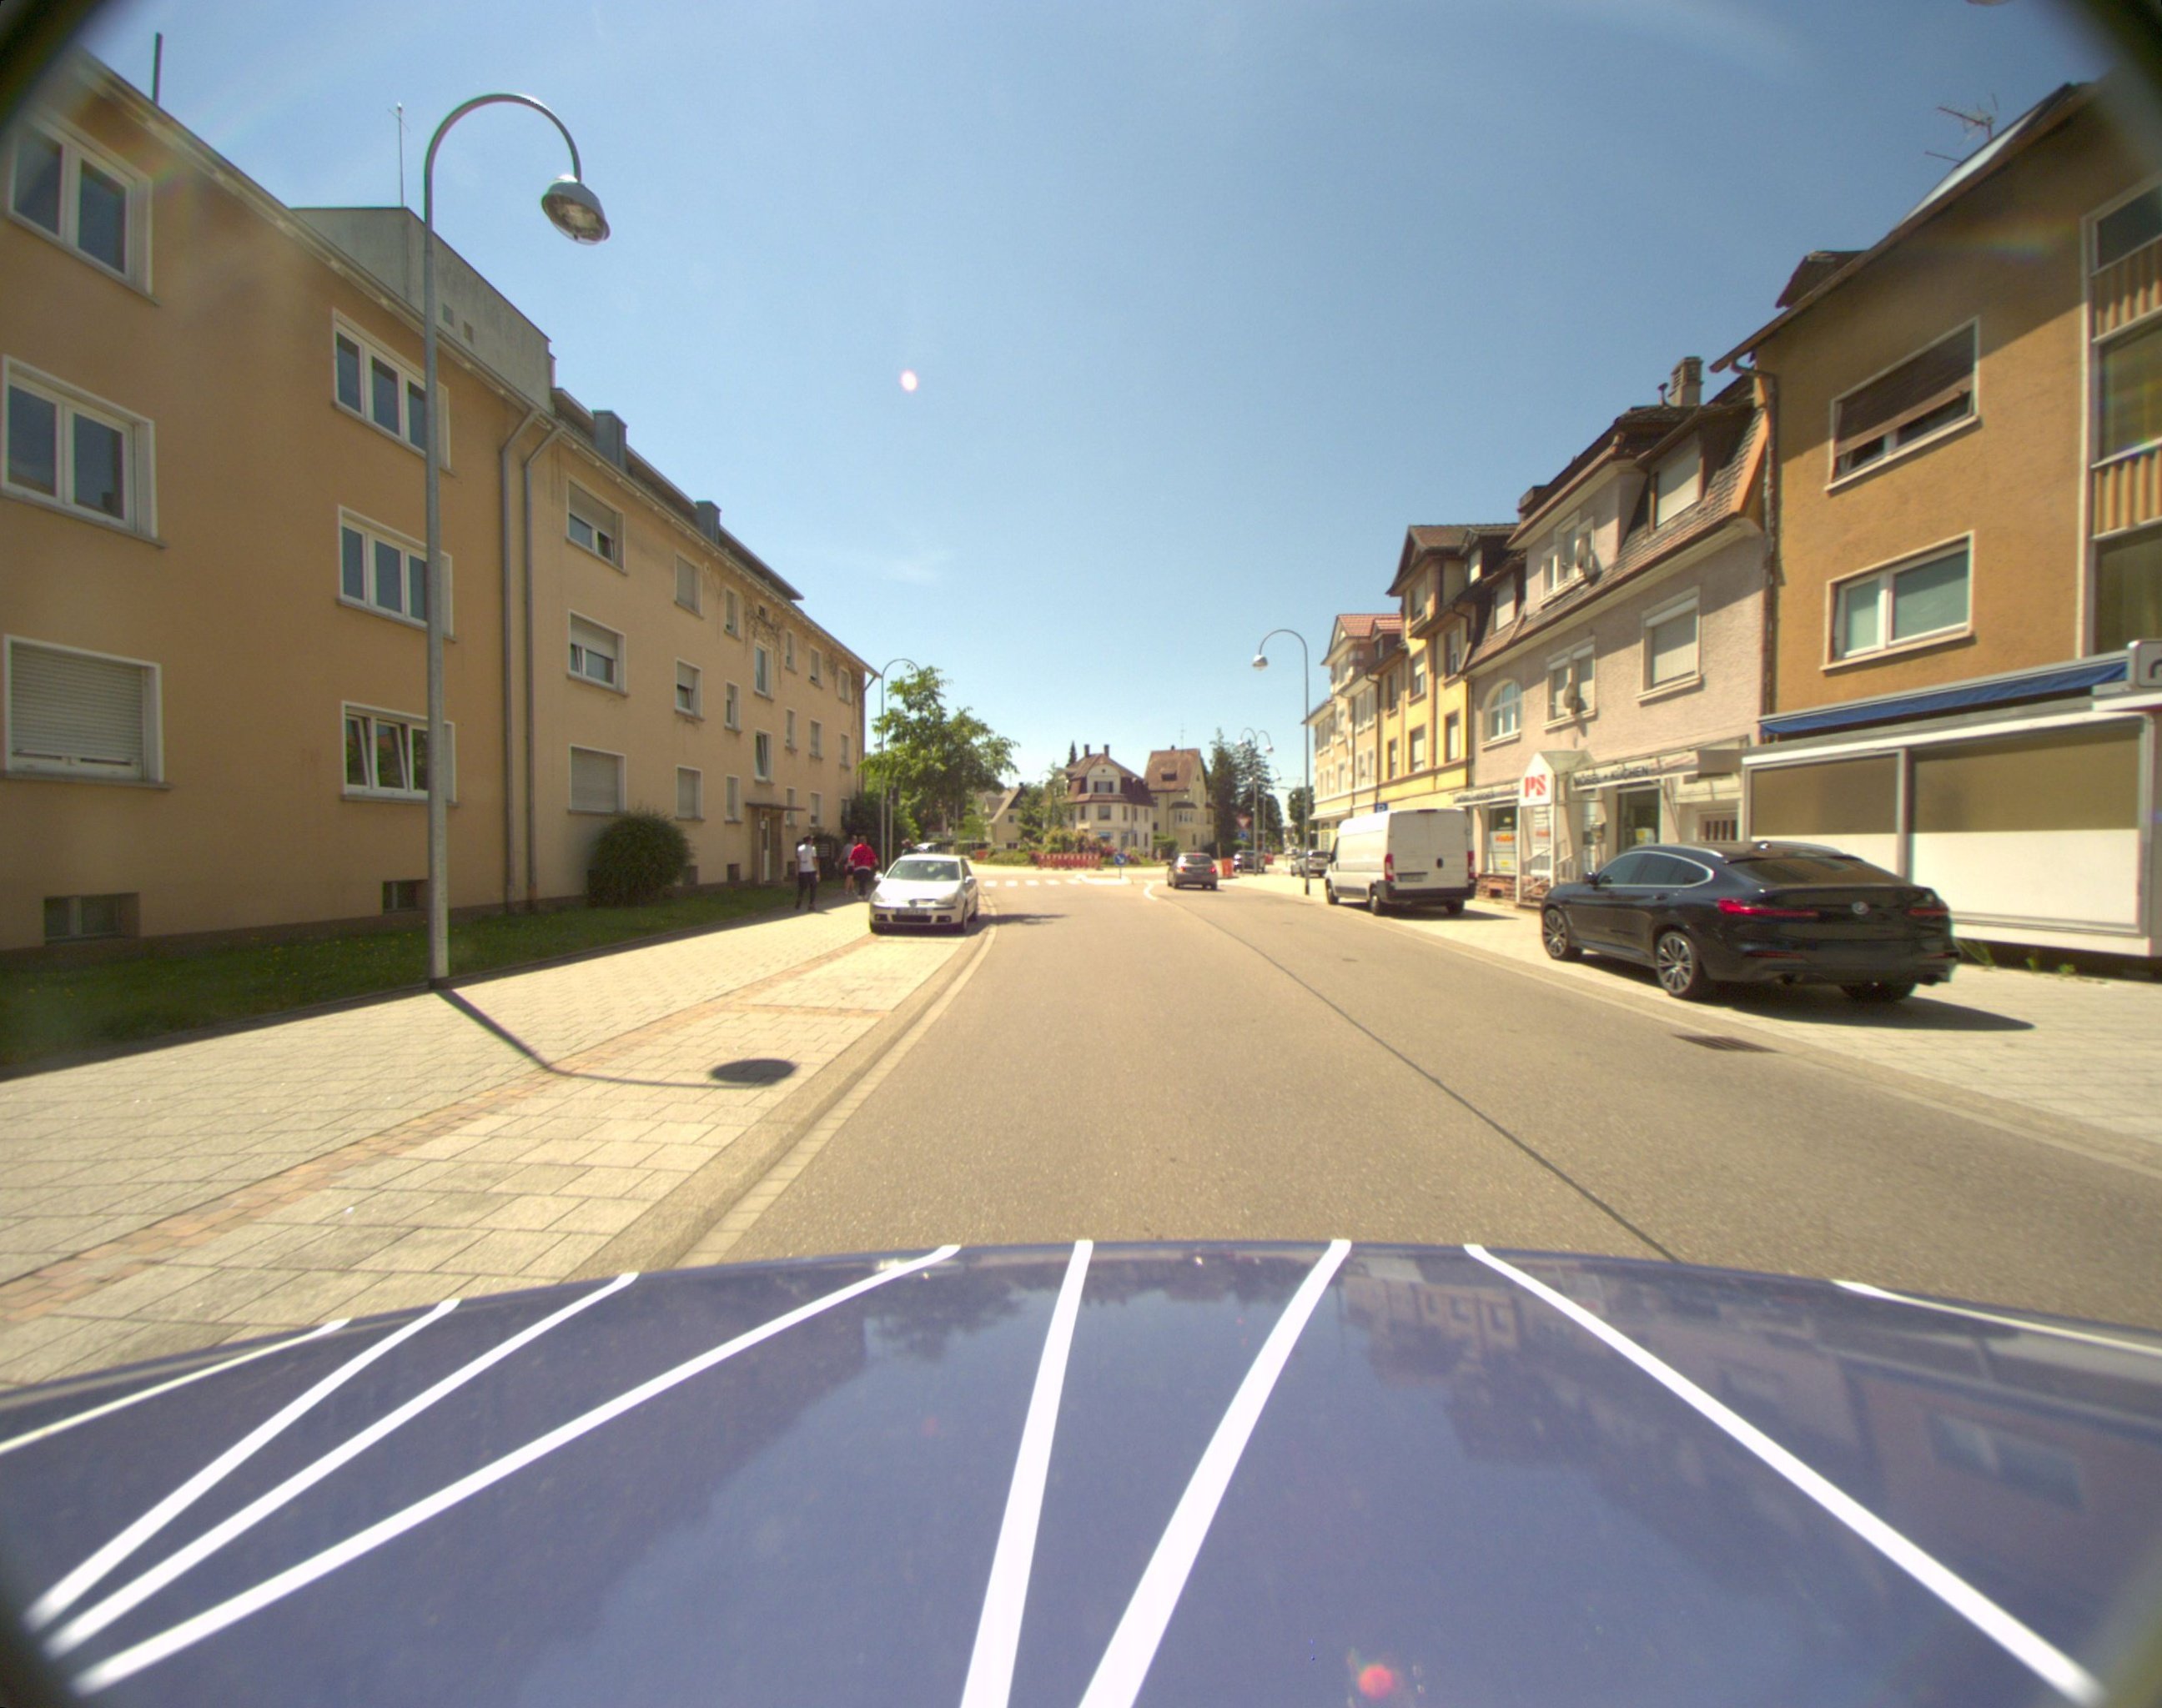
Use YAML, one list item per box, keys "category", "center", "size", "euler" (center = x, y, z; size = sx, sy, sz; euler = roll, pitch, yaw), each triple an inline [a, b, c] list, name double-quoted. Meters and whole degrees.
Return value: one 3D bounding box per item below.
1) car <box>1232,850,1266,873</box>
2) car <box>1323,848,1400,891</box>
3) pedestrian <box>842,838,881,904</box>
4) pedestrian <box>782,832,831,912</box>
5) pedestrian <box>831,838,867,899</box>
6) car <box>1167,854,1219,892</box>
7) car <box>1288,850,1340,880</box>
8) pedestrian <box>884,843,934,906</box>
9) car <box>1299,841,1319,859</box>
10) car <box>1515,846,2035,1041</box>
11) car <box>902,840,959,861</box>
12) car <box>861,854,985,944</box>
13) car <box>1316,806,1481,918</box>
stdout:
- category: "car"
  center: [12.140, 0.501, 54.612]
  size: [1.797, 1.481, 4.396]
  euler: [0, 2, 20]
- category: "car"
  center: [10.942, 0.559, 29.920]
  size: [1.798, 1.532, 4.116]
  euler: [-1, 0, 5]
- category: "pedestrian"
  center: [-6.154, 0.463, 21.361]
  size: [0.790, 1.801, 1.005]
  euler: [2, 1, -3]
- category: "pedestrian"
  center: [-6.439, 0.412, 17.896]
  size: [0.822, 1.843, 0.984]
  euler: [0, 1, -3]
- category: "pedestrian"
  center: [-6.786, 0.412, 22.276]
  size: [0.796, 1.768, 1.008]
  euler: [0, 1, -3]
- category: "car"
  center: [4.518, 0.741, 31.079]
  size: [1.735, 1.403, 4.001]
  euler: [2, 0, 3]
- category: "car"
  center: [12.748, 0.553, 41.871]
  size: [1.798, 1.494, 4.948]
  euler: [-1, 0, 6]
- category: "pedestrian"
  center: [-4.947, 0.563, 21.992]
  size: [1.174, 1.723, 1.190]
  euler: [2, 1, -4]
- category: "car"
  center: [26.948, -0.469, 89.757]
  size: [1.995, 1.838, 4.004]
  euler: [0, 4, 22]
- category: "car"
  center: [7.233, 0.748, 8.925]
  size: [2.089, 1.605, 5.112]
  euler: [-1, 0, 10]
- category: "car"
  center: [-12.690, -0.339, 64.354]
  size: [1.994, 1.727, 4.576]
  euler: [1, 1, 37]
- category: "car"
  center: [-3.059, 0.794, 15.594]
  size: [1.818, 1.468, 4.504]
  euler: [1, 1, -3]
- category: "car"
  center: [8.044, 0.147, 20.044]
  size: [2.124, 2.435, 6.118]
  euler: [-2, 1, 4]
